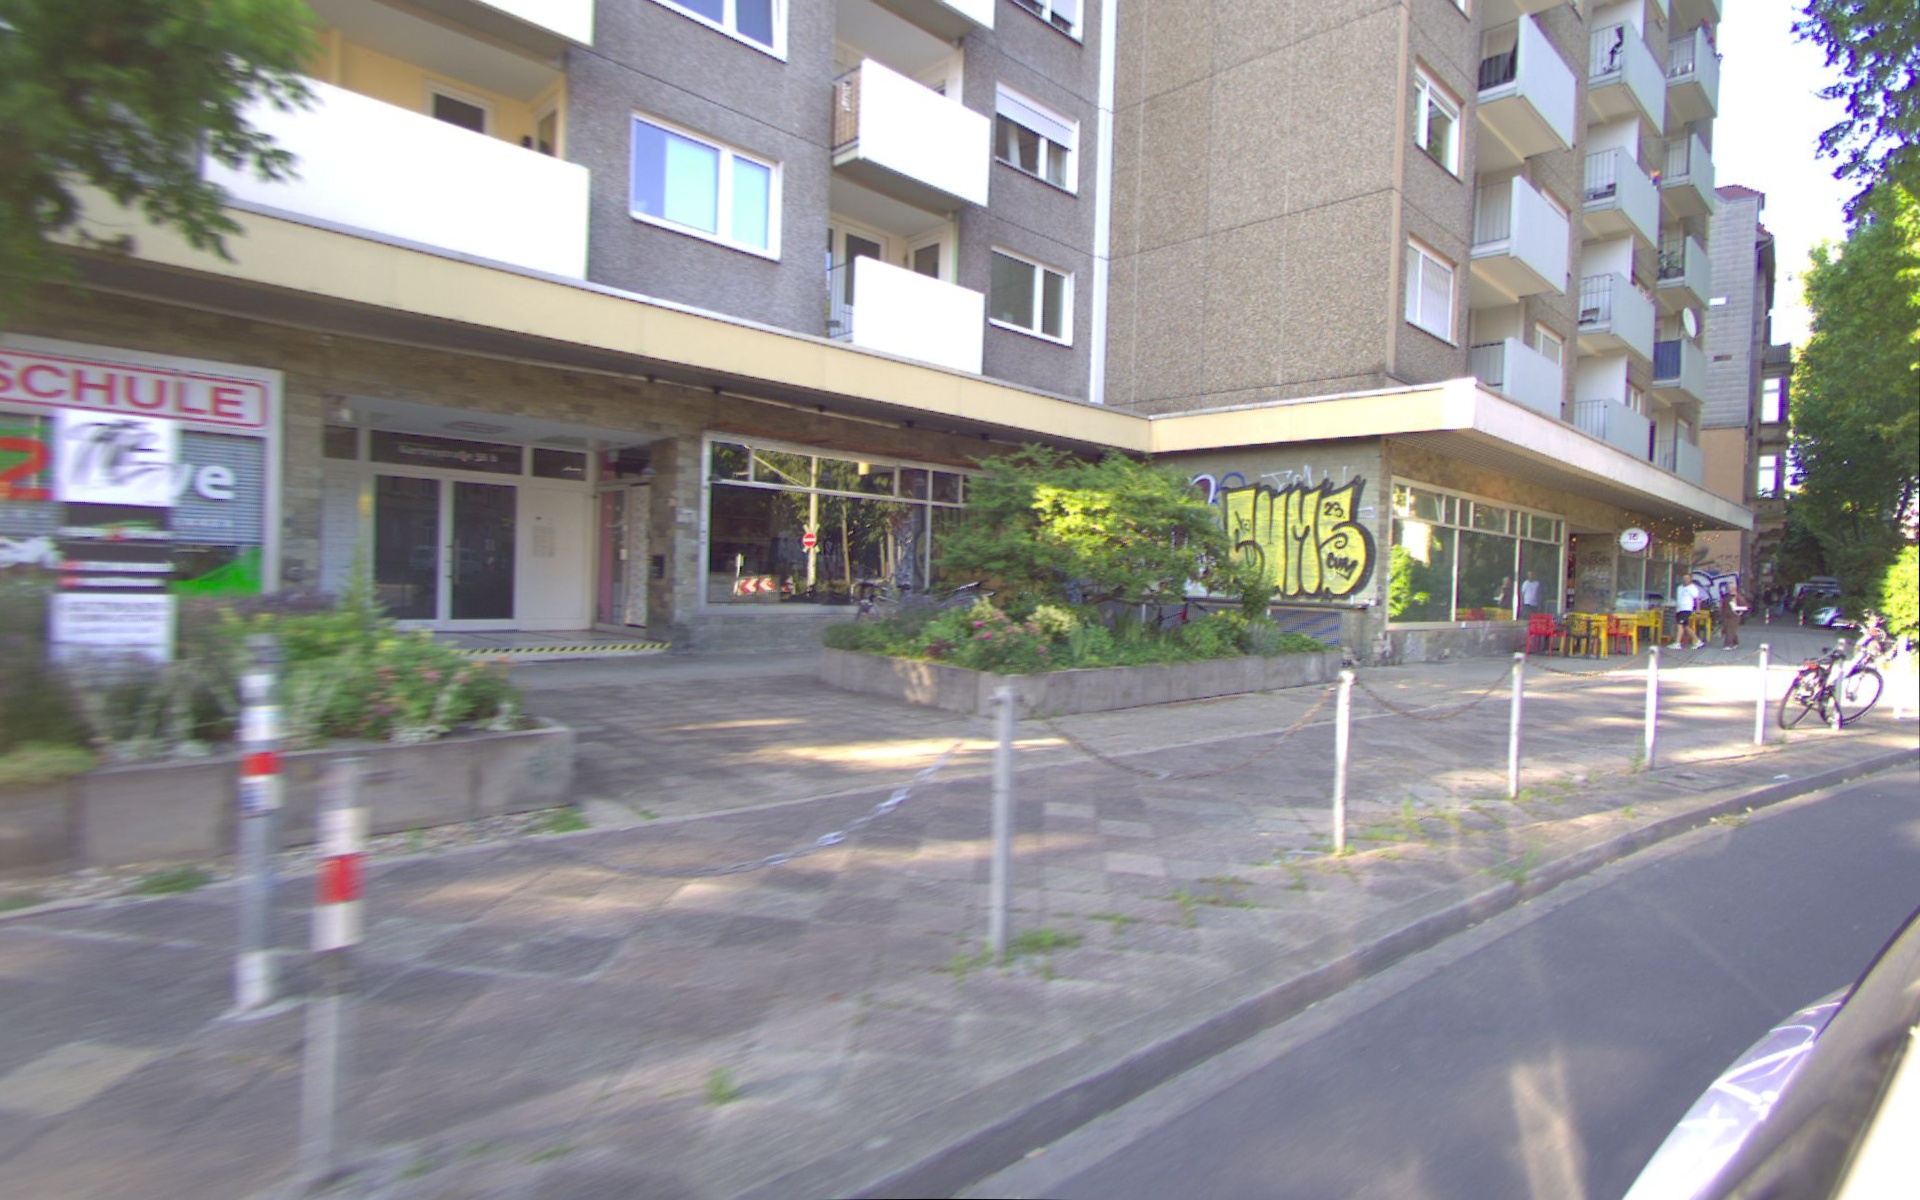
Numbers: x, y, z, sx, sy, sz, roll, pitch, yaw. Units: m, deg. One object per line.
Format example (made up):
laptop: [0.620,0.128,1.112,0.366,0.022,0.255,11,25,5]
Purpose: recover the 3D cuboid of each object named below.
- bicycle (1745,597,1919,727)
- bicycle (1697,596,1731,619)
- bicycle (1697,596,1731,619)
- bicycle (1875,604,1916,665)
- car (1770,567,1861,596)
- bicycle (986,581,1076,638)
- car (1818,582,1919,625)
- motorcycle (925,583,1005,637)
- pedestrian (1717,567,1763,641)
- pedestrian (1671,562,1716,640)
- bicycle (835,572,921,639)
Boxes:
bicycle: [9.181,0.619,10.479,2.044,1.241,0.642,1,2,-21]
bicycle: [25.191,0.249,33.829,0.890,0.750,0.269,3,2,38]
bicycle: [25.395,0.244,34.075,0.890,0.750,0.269,3,2,38]
bicycle: [16.963,0.609,18.345,1.033,1.051,0.349,0,2,-38]
car: [58.503,-1.285,69.310,4.457,1.650,1.713,5,3,35]
bicycle: [1.246,0.150,17.513,0.642,0.910,1.625,3,2,44]
car: [37.215,0.138,40.641,3.976,1.490,1.713,5,3,35]
motorcycle: [0.086,0.141,15.990,0.432,0.804,1.345,3,2,44]
pedestrian: [18.371,0.085,23.832,0.633,1.713,0.685,0,2,-41]
pedestrian: [17.259,0.018,23.812,0.625,1.795,0.685,0,2,-41]
bicycle: [-1.222,0.069,15.221,0.432,0.954,1.303,3,2,44]
